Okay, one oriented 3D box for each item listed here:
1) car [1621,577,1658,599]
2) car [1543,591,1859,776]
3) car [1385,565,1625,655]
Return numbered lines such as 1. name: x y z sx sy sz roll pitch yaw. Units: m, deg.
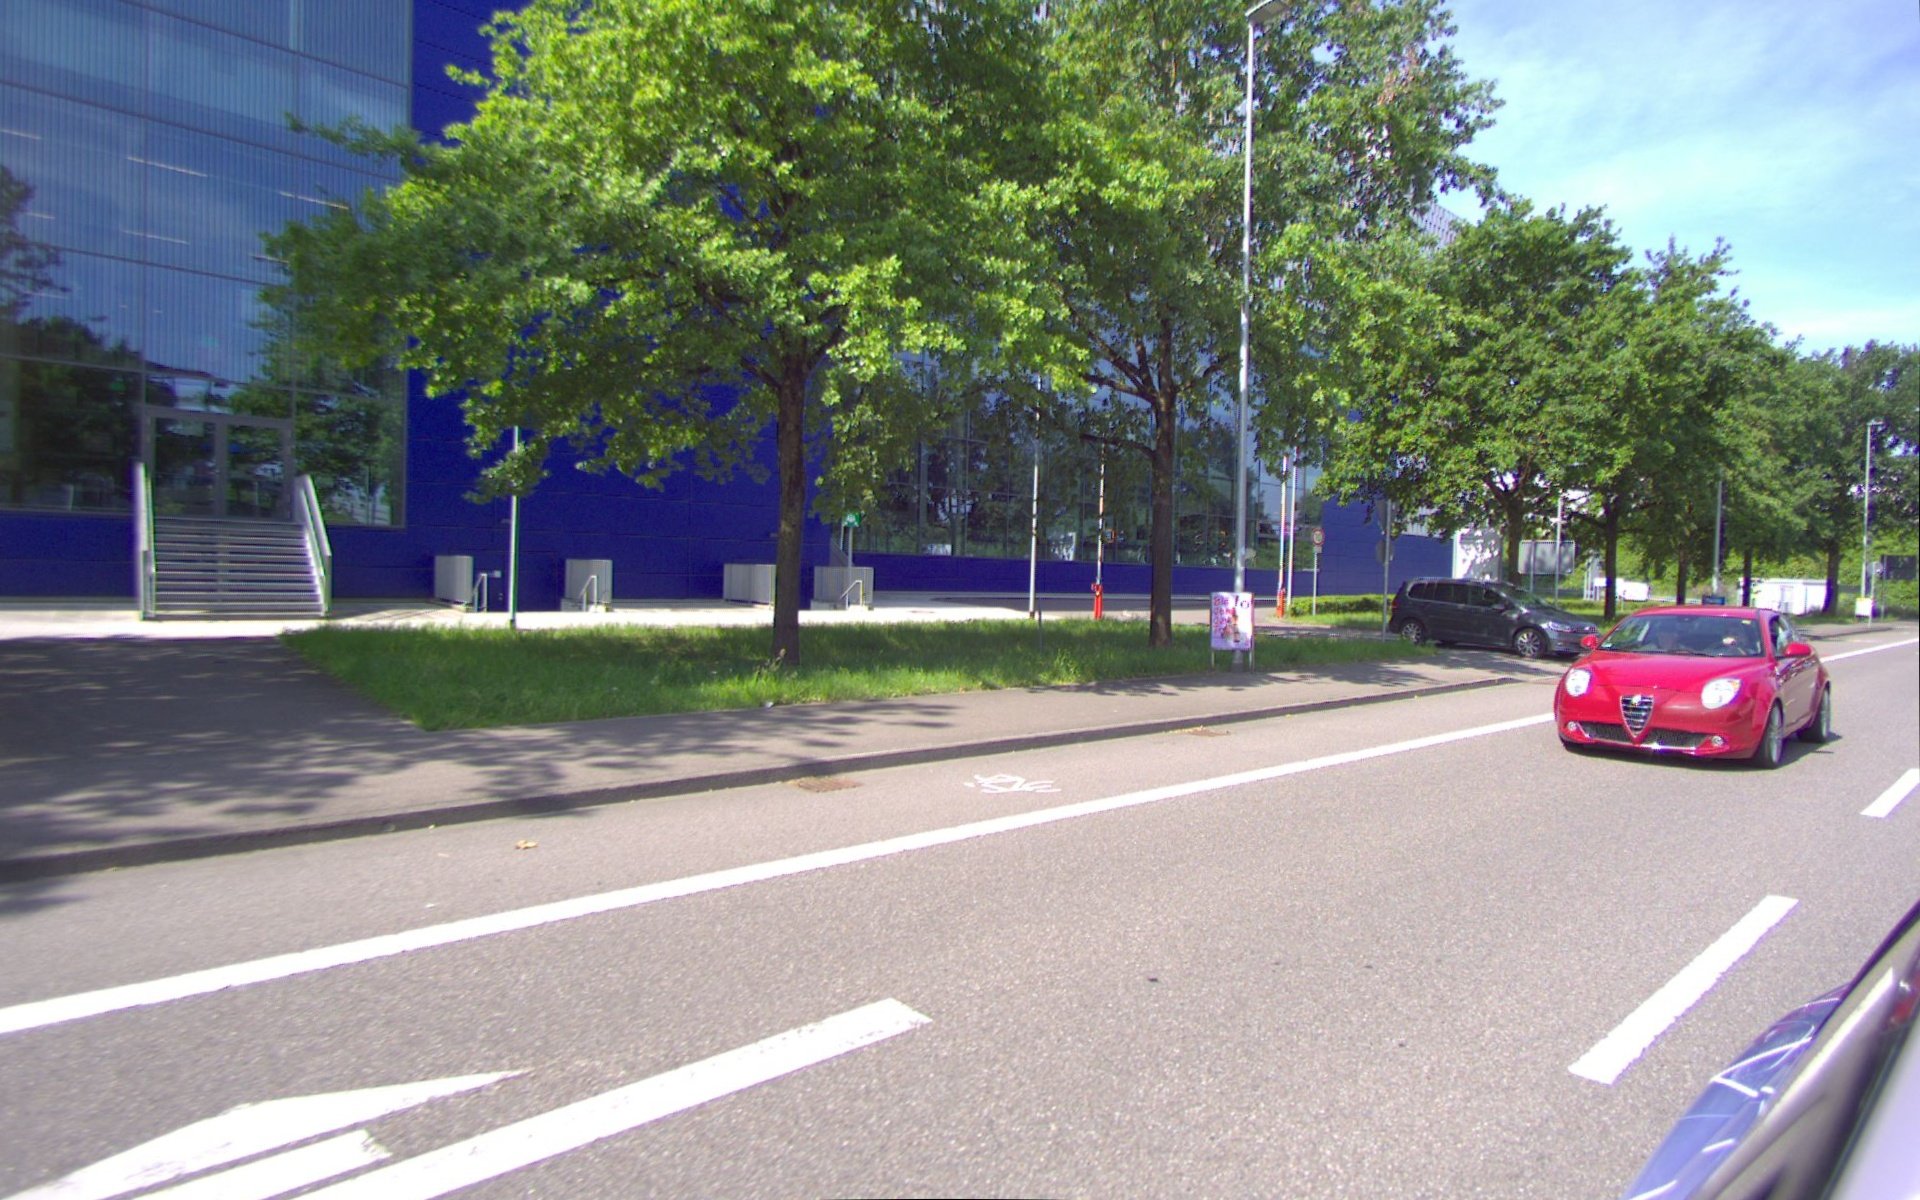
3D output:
1. car: 54.483 -0.954 81.179 1.837 1.660 4.267 1 1 25
2. car: 7.612 0.666 10.260 3.910 1.472 1.796 -1 1 -41
3. car: 12.276 0.153 23.102 1.809 1.714 4.462 0 3 -33
